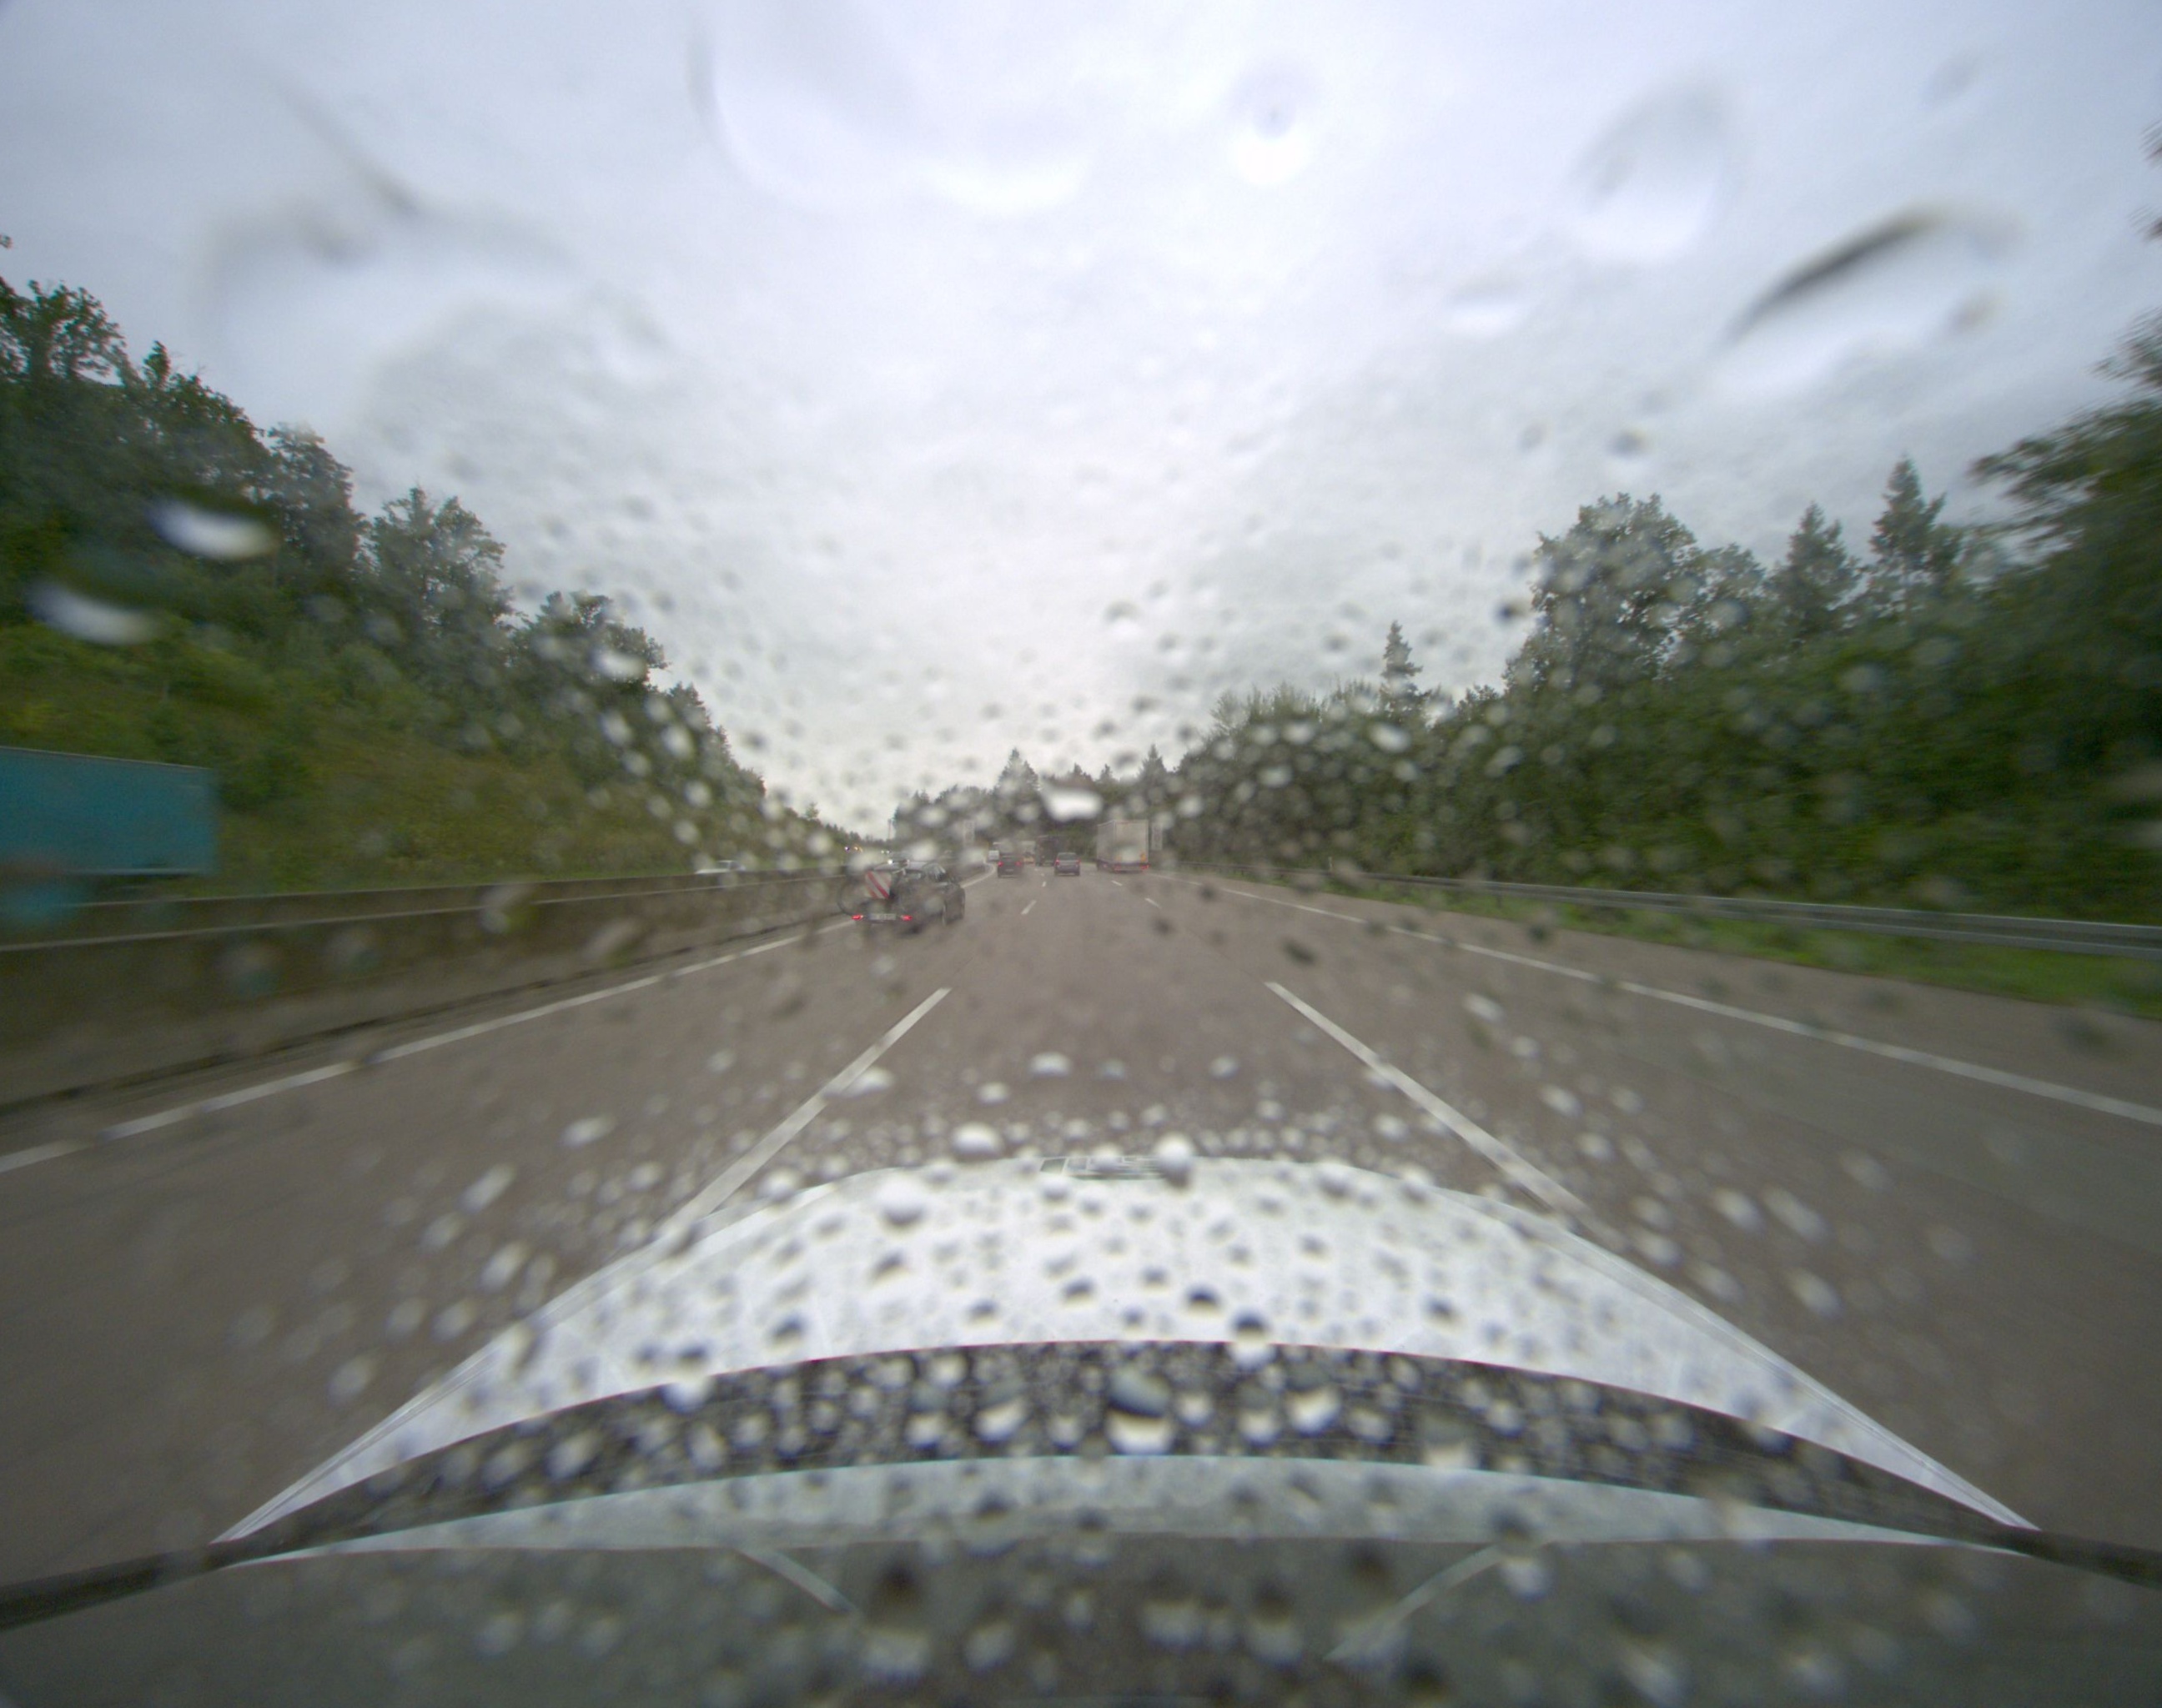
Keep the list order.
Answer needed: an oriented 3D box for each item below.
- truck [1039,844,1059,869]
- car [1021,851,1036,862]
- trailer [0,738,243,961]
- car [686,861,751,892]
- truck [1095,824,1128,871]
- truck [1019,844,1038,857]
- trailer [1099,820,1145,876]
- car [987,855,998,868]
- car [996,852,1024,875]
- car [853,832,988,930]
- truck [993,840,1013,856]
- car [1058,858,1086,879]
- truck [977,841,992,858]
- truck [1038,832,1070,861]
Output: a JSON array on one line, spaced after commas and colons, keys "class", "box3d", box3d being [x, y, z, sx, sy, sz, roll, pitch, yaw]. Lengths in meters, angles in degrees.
[{"class": "truck", "box3d": [-3.819, 0.243, 97.988, 2.264, 2.886, 7.897, 0, 1, -2]}, {"class": "car", "box3d": [-7.348, 0.309, 113.552, 1.877, 1.473, 3.997, 1, 0, -2]}, {"class": "trailer", "box3d": [-20.311, -0.068, 12.741, 2.897, 3.889, 11.035, -1, 0, 0]}, {"class": "car", "box3d": [-20.319, 1.211, 45.845, 1.725, 1.576, 4.243, -1, 0, 0]}, {"class": "truck", "box3d": [2.666, -0.579, 73.268, 2.415, 4.068, 4.971, -1, 0, -4]}, {"class": "truck", "box3d": [-10.105, -0.662, 154.733, 2.974, 2.309, 6.646, 1, 0, -9]}, {"class": "trailer", "box3d": [3.138, -0.496, 66.147, 2.414, 4.068, 12.040, 0, 0, -3]}, {"class": "car", "box3d": [-13.667, 1.166, 125.793, 1.723, 2.014, 3.649, -1, 0, -6]}, {"class": "car", "box3d": [-4.763, 0.594, 55.196, 1.679, 1.462, 3.681, 1, 0, -2]}, {"class": "car", "box3d": [-3.615, 0.545, 19.608, 1.901, 1.945, 6.163, -1, 0, 1]}, {"class": "truck", "box3d": [-14.645, -1.128, 152.190, 3.083, 2.905, 7.874, 0, 1, -11]}, {"class": "car", "box3d": [-0.611, 0.980, 57.538, 1.546, 1.351, 3.689, 1, 0, 5]}, {"class": "truck", "box3d": [-24.957, -1.223, 211.362, 3.736, 4.210, 6.802, -1, 0, -6]}, {"class": "truck", "box3d": [-4.137, -1.121, 122.403, 3.369, 4.131, 10.402, -1, 0, -10]}]
